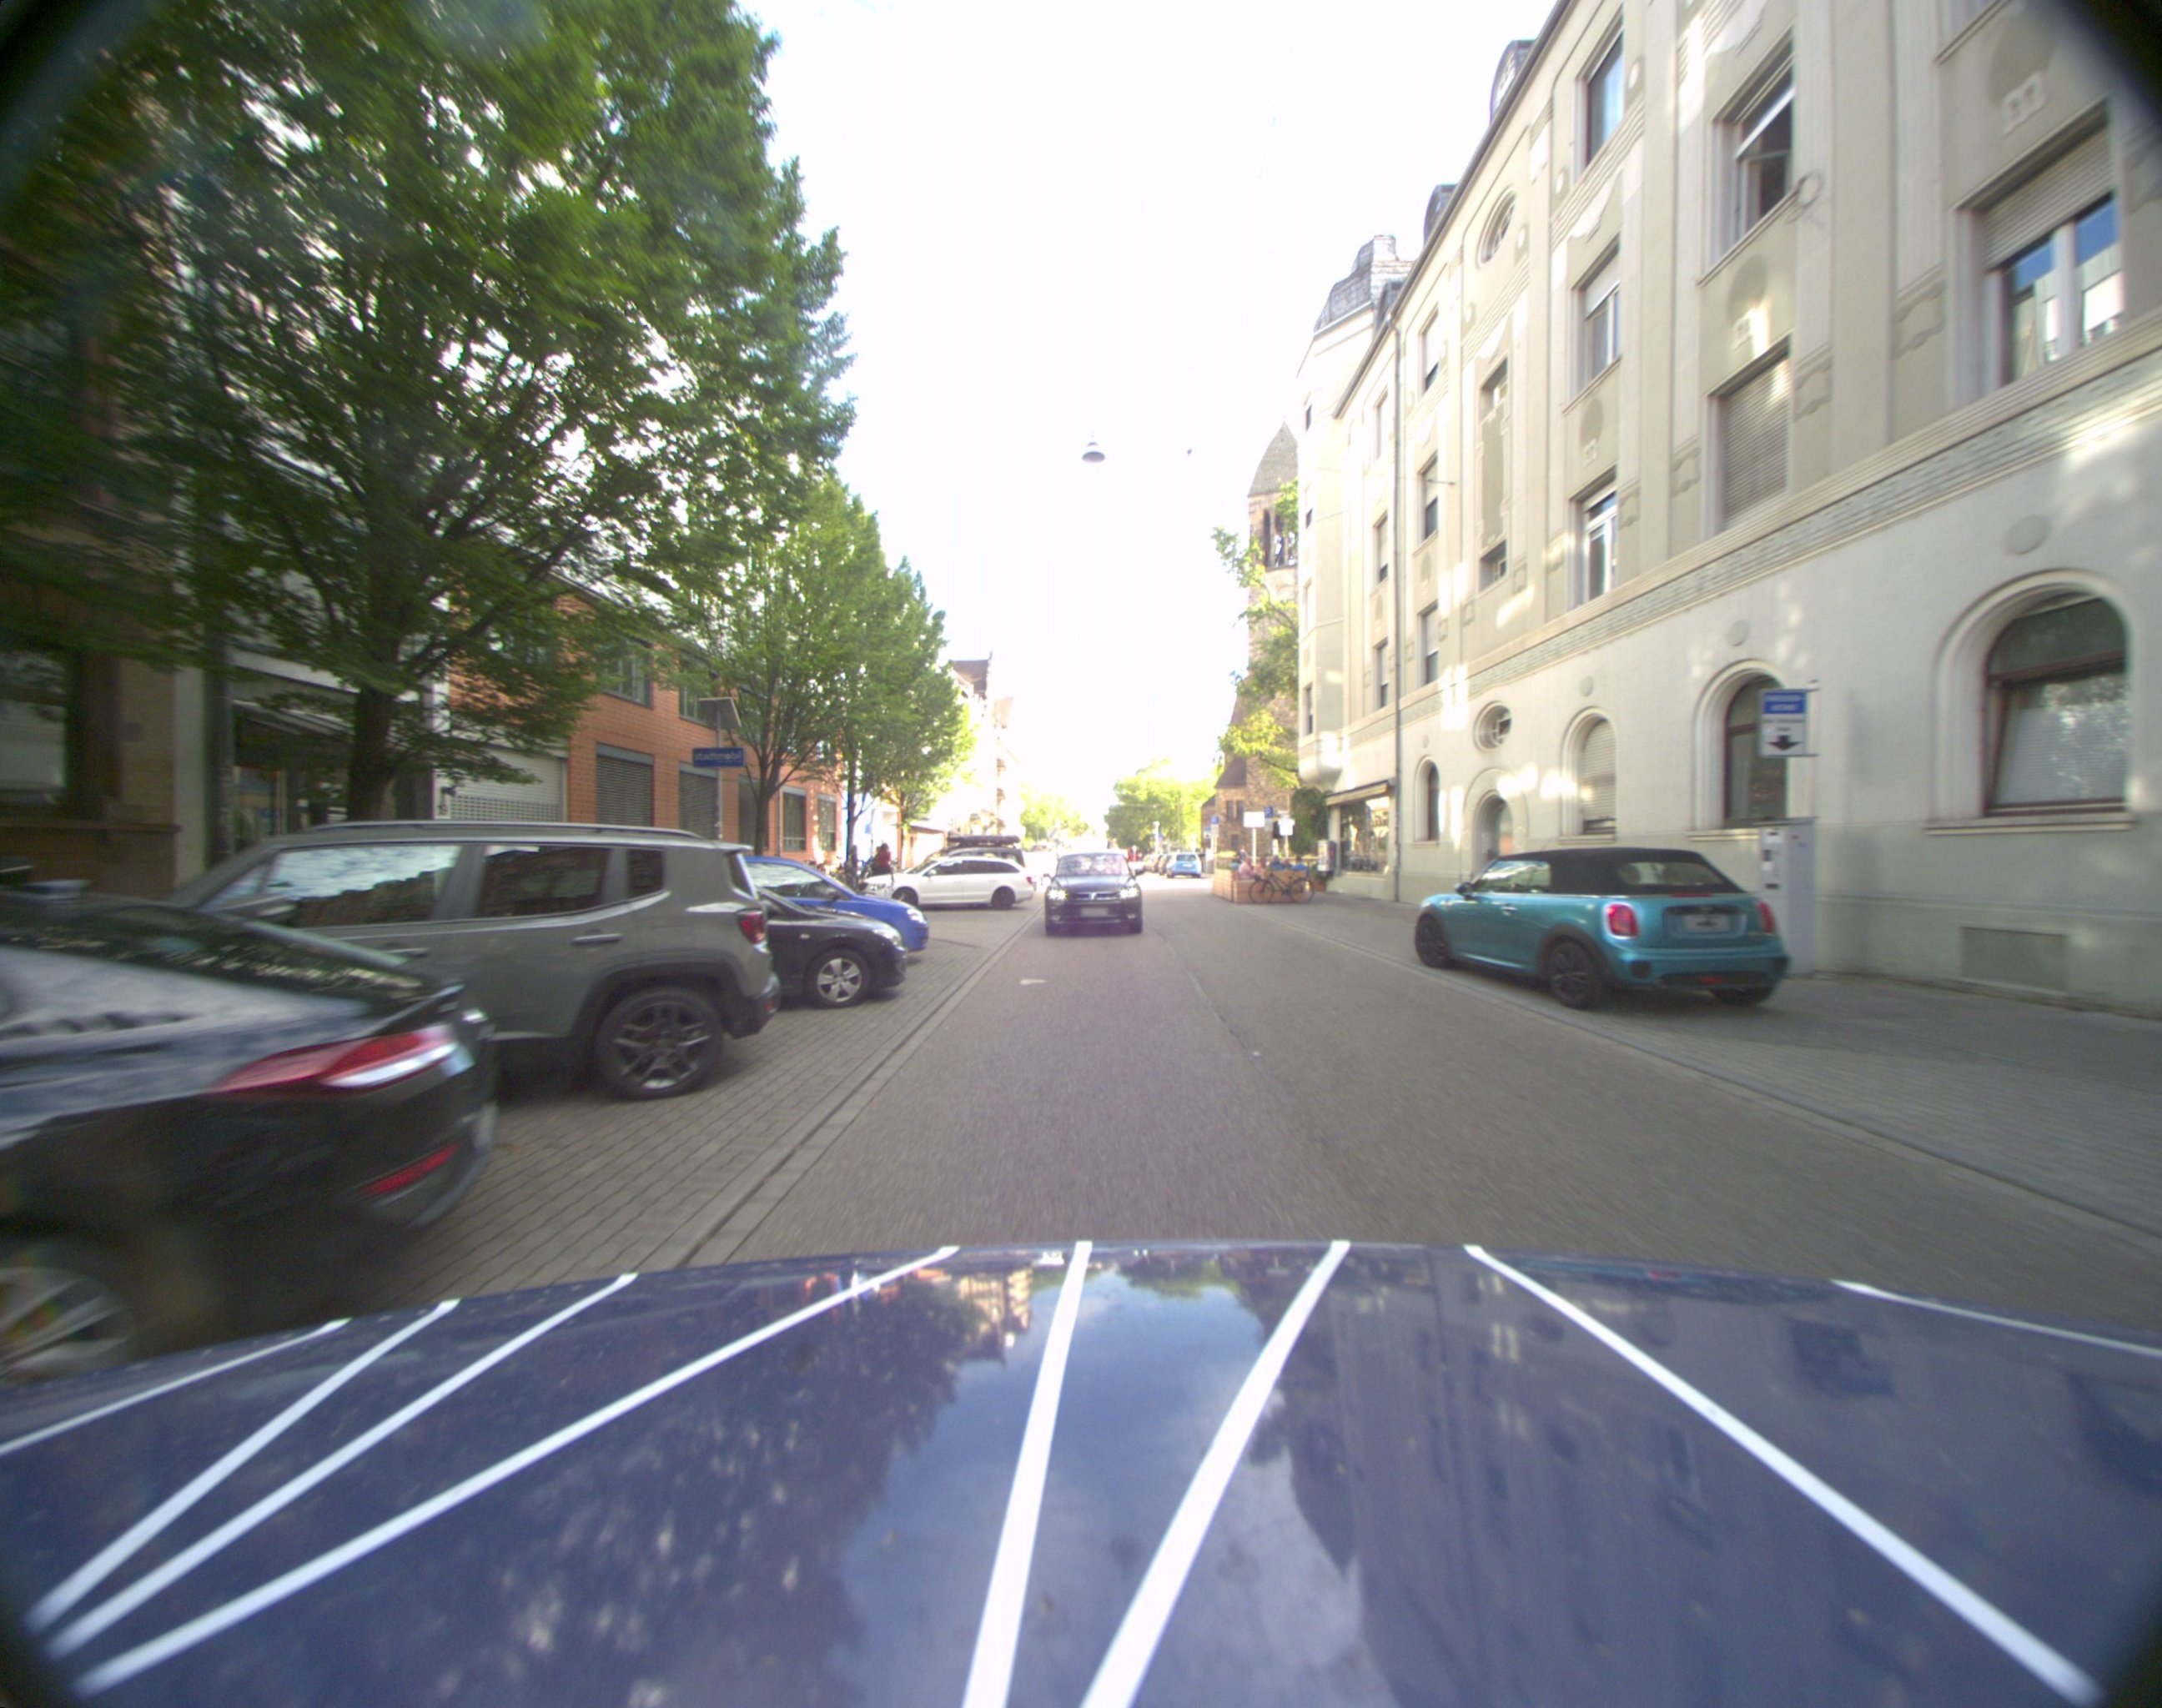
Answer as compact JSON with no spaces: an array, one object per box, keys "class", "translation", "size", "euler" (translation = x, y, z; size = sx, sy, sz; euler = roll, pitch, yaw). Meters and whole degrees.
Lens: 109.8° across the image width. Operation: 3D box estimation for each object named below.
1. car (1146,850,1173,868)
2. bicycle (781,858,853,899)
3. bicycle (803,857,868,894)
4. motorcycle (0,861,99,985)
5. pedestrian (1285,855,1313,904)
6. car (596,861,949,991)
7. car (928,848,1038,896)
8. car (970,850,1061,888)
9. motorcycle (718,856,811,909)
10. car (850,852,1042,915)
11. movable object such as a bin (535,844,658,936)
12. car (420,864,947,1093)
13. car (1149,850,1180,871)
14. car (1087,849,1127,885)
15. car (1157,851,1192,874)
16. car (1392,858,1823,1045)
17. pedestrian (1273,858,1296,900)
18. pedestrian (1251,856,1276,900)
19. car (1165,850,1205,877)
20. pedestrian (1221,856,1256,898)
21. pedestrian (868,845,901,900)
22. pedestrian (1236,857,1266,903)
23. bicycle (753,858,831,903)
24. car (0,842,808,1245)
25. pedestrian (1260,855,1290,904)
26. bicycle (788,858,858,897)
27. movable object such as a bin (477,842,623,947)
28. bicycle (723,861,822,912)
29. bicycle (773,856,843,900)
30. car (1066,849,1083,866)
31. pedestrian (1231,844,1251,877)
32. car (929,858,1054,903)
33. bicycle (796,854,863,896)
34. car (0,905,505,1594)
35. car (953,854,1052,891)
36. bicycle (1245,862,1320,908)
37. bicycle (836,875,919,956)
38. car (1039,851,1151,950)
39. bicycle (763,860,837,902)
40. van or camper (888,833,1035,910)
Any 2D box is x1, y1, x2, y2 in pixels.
[{"class":"car","translation":[6.545,0.393,63.939],"size":[1.911,1.412,4.000],"euler":[-1,0,1]},{"class":"bicycle","translation":[-7.988,0.738,23.005],"size":[1.896,1.113,0.618],"euler":[3,1,-1]},{"class":"bicycle","translation":[-8.032,0.698,24.911],"size":[1.896,1.106,0.618],"euler":[3,1,-1]},{"class":"motorcycle","translation":[-10.863,0.680,6.783],"size":[0.896,1.180,2.491],"euler":[-1,0,1]},{"class":"pedestrian","translation":[6.263,0.727,21.877],"size":[0.637,1.364,0.684],"euler":[-1,1,5]},{"class":"car","translation":[-3.973,0.861,10.137],"size":[4.006,1.430,1.721],"euler":[1,0,-26]},{"class":"car","translation":[-4.017,0.700,31.256],"size":[4.006,1.751,1.908],"euler":[-2,1,-30]},{"class":"car","translation":[-3.201,0.702,37.274],"size":[4.006,1.663,1.923],"euler":[-2,1,-30]},{"class":"motorcycle","translation":[-8.066,0.720,19.439],"size":[1.984,1.220,0.827],"euler":[3,1,-1]},{"class":"car","translation":[-3.663,0.792,20.944],"size":[4.816,1.535,1.866],"euler":[1,1,-31]},{"class":"movable object such as a bin","translation":[-8.432,0.600,13.289],"size":[1.375,1.438,1.037],"euler":[5,1,-1]},{"class":"car","translation":[-3.630,0.935,7.483],"size":[4.133,1.512,1.840],"euler":[-2,2,-35]},{"class":"car","translation":[6.208,0.457,56.922],"size":[1.911,1.412,4.000],"euler":[-1,0,1]},{"class":"car","translation":[1.294,0.617,37.654],"size":[1.810,1.622,4.001],"euler":[-2,0,2]},{"class":"car","translation":[6.155,0.506,50.518],"size":[1.911,1.412,4.000],"euler":[-1,0,1]},{"class":"car","translation":[5.039,0.788,8.071],"size":[1.674,1.407,4.011],"euler":[-2,0,-2]},{"class":"pedestrian","translation":[6.221,0.758,23.251],"size":[0.597,1.236,0.694],"euler":[-1,1,8]},{"class":"pedestrian","translation":[5.602,0.729,23.372],"size":[0.668,1.328,0.740],"euler":[-1,1,8]},{"class":"car","translation":[6.027,0.512,44.508],"size":[1.828,1.477,4.170],"euler":[-1,0,1]},{"class":"pedestrian","translation":[5.203,0.754,25.186],"size":[1.088,1.365,0.895],"euler":[-1,1,9]},{"class":"pedestrian","translation":[-6.313,0.584,24.439],"size":[0.754,1.729,0.952],"euler":[3,1,-3]},{"class":"pedestrian","translation":[5.043,0.761,22.587],"size":[0.738,1.341,0.644],"euler":[-1,1,4]},{"class":"bicycle","translation":[-8.039,0.743,21.170],"size":[1.896,1.125,0.618],"euler":[3,1,-1]},{"class":"car","translation":[-3.977,0.808,4.659],"size":[4.007,1.689,1.848],"euler":[0,0,-34]},{"class":"pedestrian","translation":[5.609,0.718,21.993],"size":[0.689,1.365,0.739],"euler":[-1,1,5]},{"class":"bicycle","translation":[-8.017,0.715,23.637],"size":[1.896,1.096,0.618],"euler":[3,1,-1]},{"class":"movable object such as a bin","translation":[-8.451,0.611,12.166],"size":[1.375,1.451,1.164],"euler":[7,1,-1]},{"class":"bicycle","translation":[-7.529,0.778,18.618],"size":[2.025,1.089,0.820],"euler":[4,1,1]},{"class":"bicycle","translation":[-8.024,0.697,22.369],"size":[1.782,1.198,0.618],"euler":[3,1,-1]},{"class":"car","translation":[-0.757,0.408,93.760],"size":[1.810,1.914,4.001],"euler":[-2,0,2]},{"class":"pedestrian","translation":[8.395,0.344,39.860],"size":[0.845,1.699,0.879],"euler":[-1,1,1]},{"class":"car","translation":[-3.112,0.882,26.728],"size":[4.006,1.391,1.657],"euler":[-2,1,-30]},{"class":"bicycle","translation":[-8.019,0.666,24.279],"size":[1.896,1.198,0.618],"euler":[3,1,-1]},{"class":"car","translation":[-3.977,0.938,1.730],"size":[4.145,1.409,1.864],"euler":[0,0,-34]},{"class":"car","translation":[-3.552,0.807,34.576],"size":[4.006,1.499,1.995],"euler":[-2,1,-30]},{"class":"bicycle","translation":[5.521,0.842,20.883],"size":[1.872,1.168,0.688],"euler":[-1,1,3]},{"class":"bicycle","translation":[-3.488,0.998,12.925],"size":[0.703,1.205,1.744],"euler":[-2,2,-39]},{"class":"car","translation":[0.421,0.786,15.174],"size":[1.874,1.644,4.388],"euler":[-1,0,5]},{"class":"bicycle","translation":[-8.044,0.762,21.771],"size":[1.887,1.112,0.537],"euler":[2,1,-1]},{"class":"van or camper","translation":[-3.685,0.482,23.484],"size":[4.006,2.166,1.995],"euler":[-2,1,-29]}]
